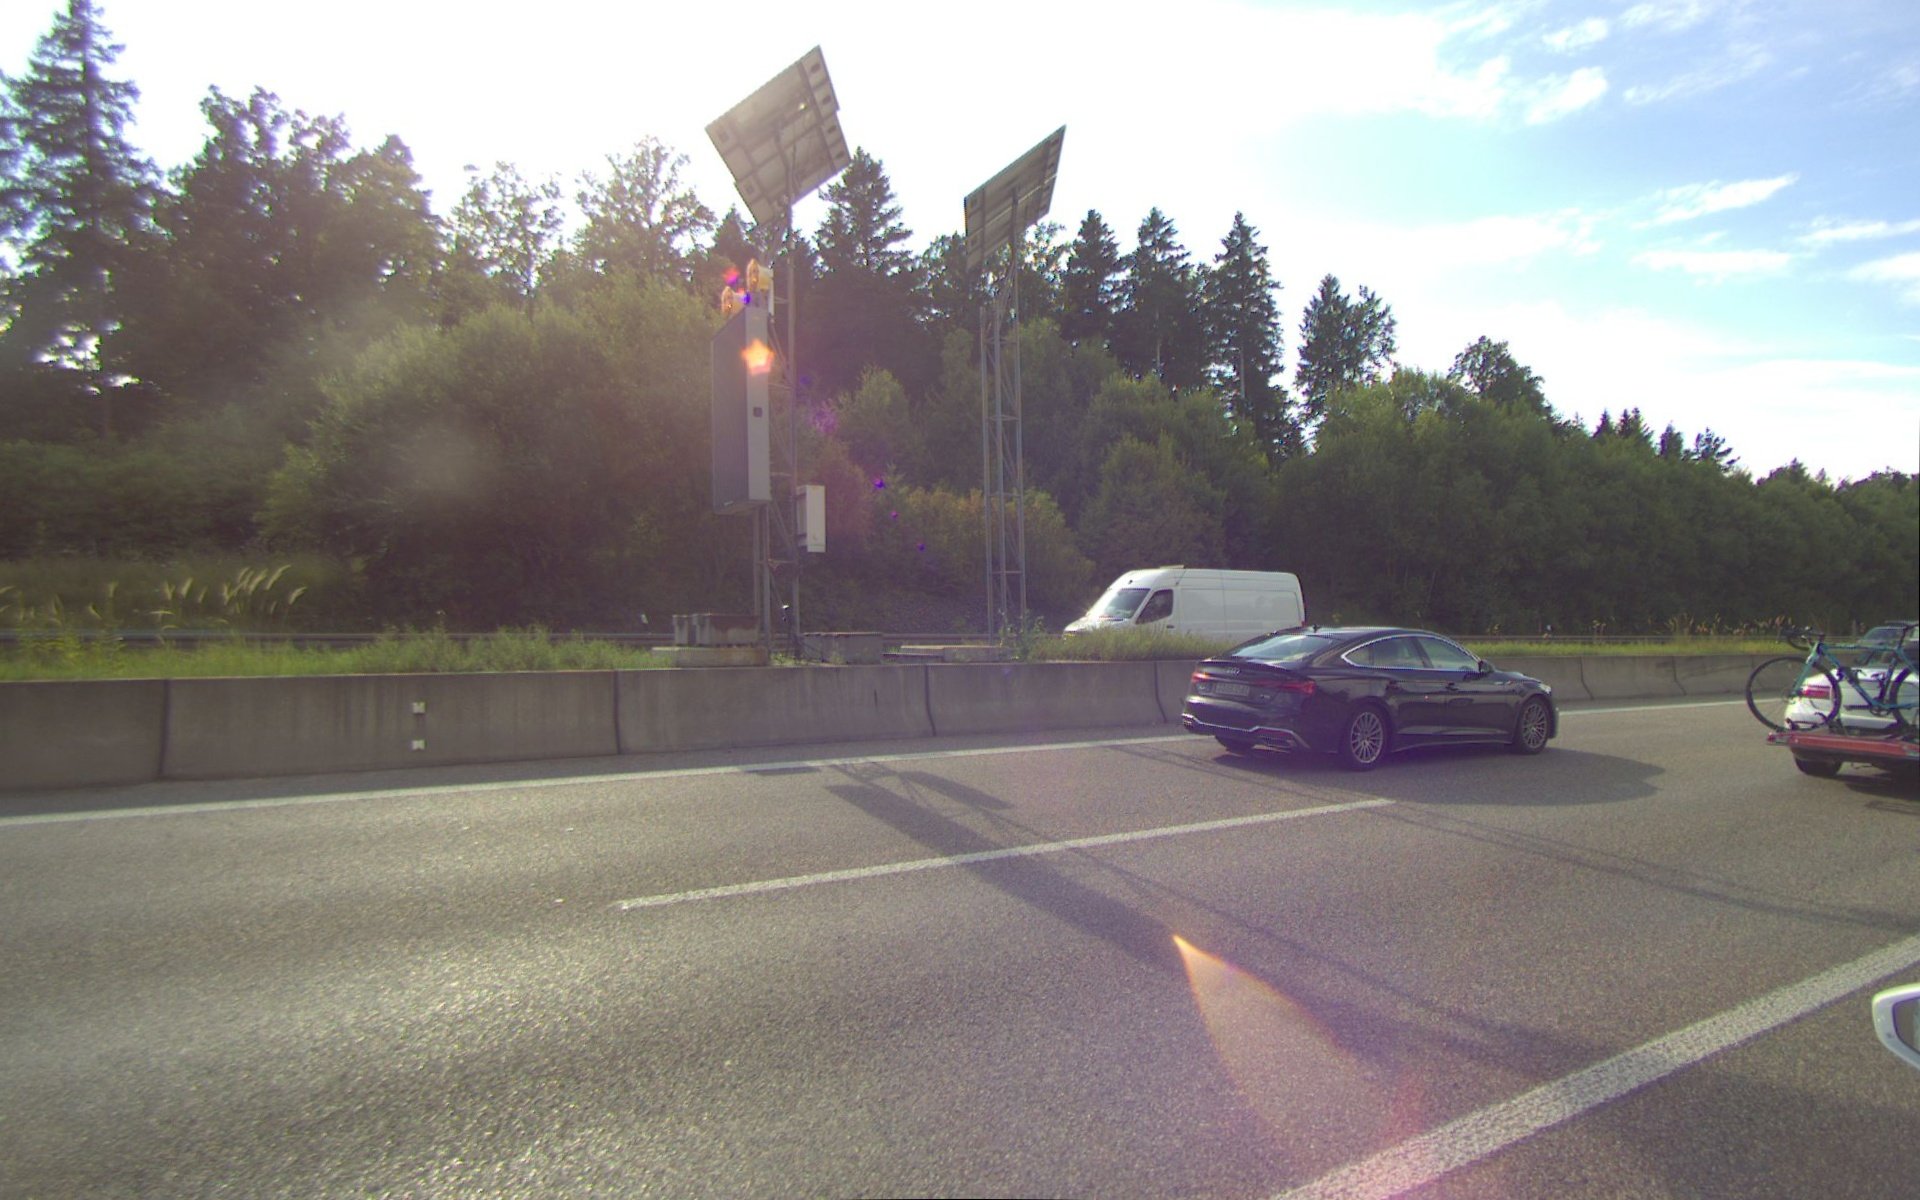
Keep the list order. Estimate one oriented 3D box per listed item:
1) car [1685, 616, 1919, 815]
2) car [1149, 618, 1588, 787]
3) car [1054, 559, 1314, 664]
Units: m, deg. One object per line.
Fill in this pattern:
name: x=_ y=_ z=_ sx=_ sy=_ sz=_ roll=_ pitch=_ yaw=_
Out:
car: x=9.579 y=0.961 z=9.726 sx=5.668 sy=1.519 sz=2.050 roll=1 pitch=-1 yaw=-30
car: x=4.473 y=0.955 z=10.786 sx=4.784 sy=1.450 sz=1.847 roll=1 pitch=-1 yaw=-30
car: x=5.660 y=0.318 z=24.912 sx=6.646 sy=2.343 sz=2.099 roll=1 pitch=0 yaw=-31
